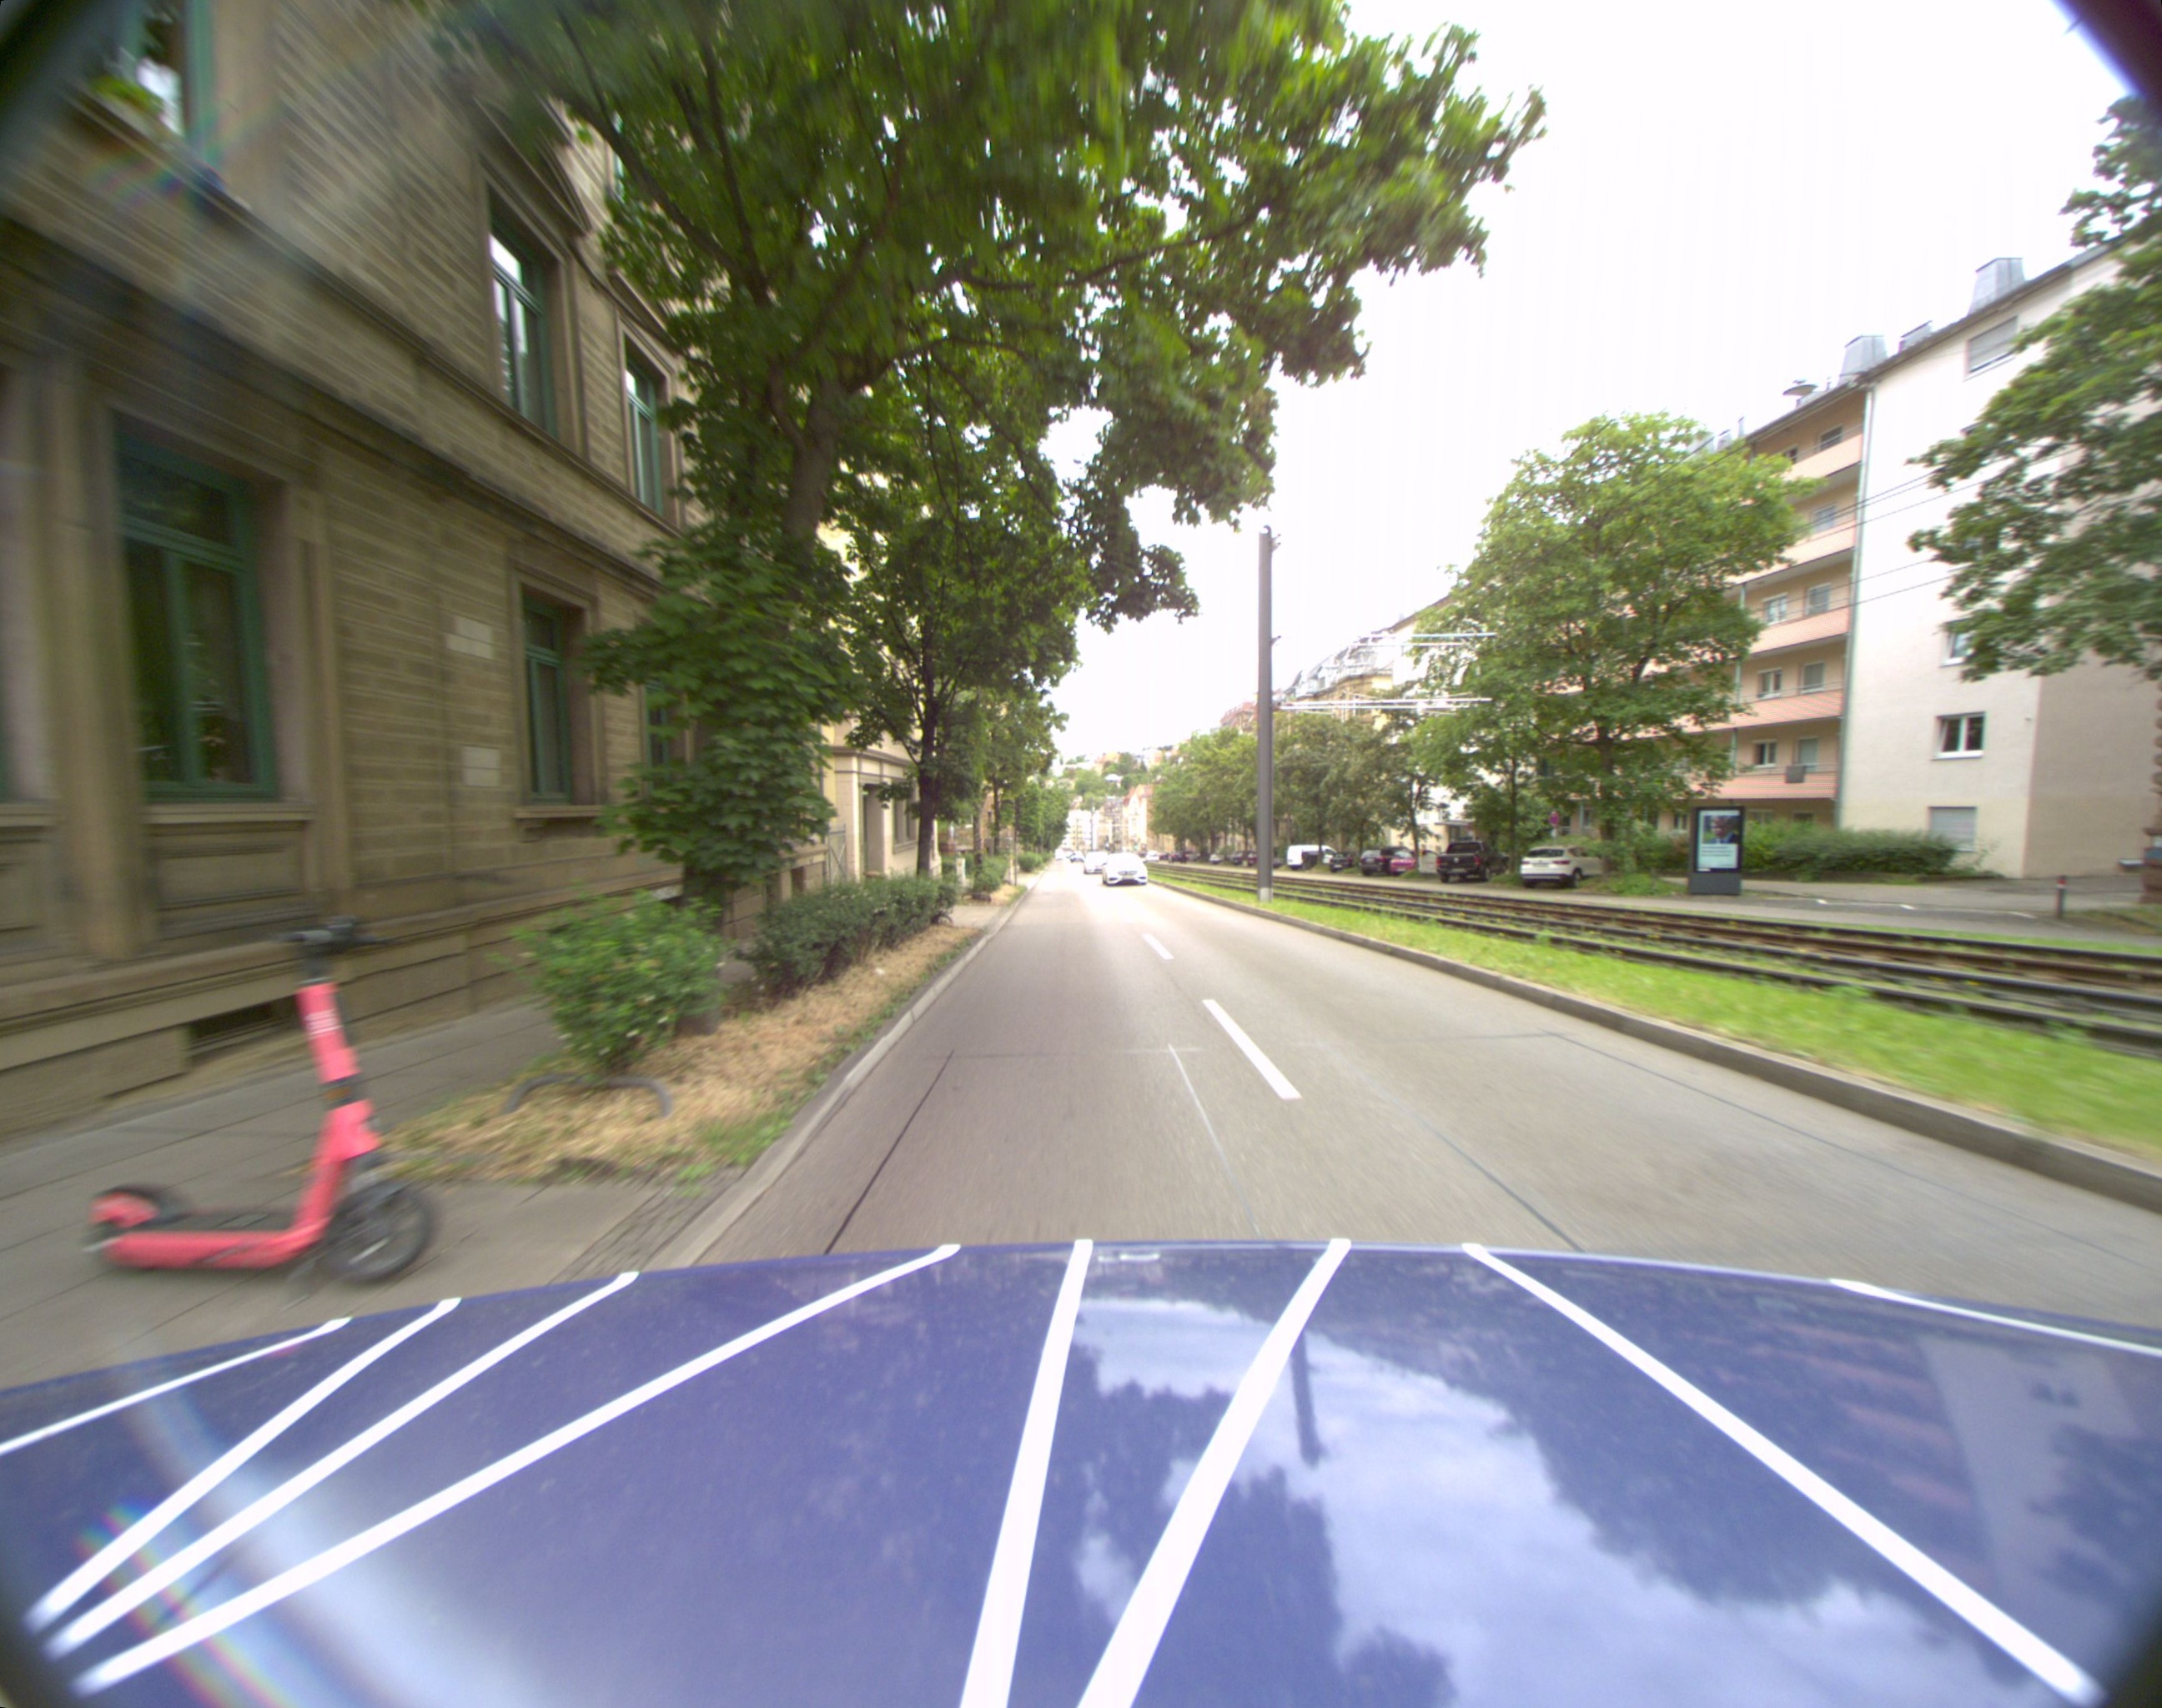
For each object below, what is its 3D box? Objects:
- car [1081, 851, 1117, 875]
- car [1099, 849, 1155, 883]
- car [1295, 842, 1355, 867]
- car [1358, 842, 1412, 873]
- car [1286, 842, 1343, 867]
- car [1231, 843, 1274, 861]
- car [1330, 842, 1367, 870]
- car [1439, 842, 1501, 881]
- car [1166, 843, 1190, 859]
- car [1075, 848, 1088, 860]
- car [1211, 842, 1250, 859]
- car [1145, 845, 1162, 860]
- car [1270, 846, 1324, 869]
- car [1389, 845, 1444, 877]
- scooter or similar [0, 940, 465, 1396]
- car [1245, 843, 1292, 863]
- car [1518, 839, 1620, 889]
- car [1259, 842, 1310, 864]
[{"bbox_3d":[1.192,0.590,52.071,1.999,1.479,4.228,-3,1,-4],"label":"car"},{"bbox_3d":[2.045,0.509,34.829,1.999,1.390,4.228,-3,1,-4],"label":"car"},{"bbox_3d":[17.324,0.037,53.876,3.863,1.678,1.781,-1,1,-24],"label":"car"},{"bbox_3d":[17.349,0.163,43.280,1.779,1.678,3.866,0,1,40],"label":"car"},{"bbox_3d":[17.308,-0.004,56.270,3.863,1.803,1.781,-1,1,-24],"label":"car"},{"bbox_3d":[17.132,-0.223,75.860,3.860,1.803,1.782,-1,1,-17],"label":"car"},{"bbox_3d":[17.335,0.120,49.194,1.780,1.678,3.864,0,2,27],"label":"car"},{"bbox_3d":[17.621,0.307,34.341,1.779,1.678,3.866,0,1,39],"label":"car"},{"bbox_3d":[11.994,-0.380,93.889,2.000,2.002,3.997,-1,1,-7],"label":"car"},{"bbox_3d":[0.117,-0.054,110.303,1.882,1.728,3.999,0,1,0],"label":"car"},{"bbox_3d":[16.663,-0.378,84.671,3.860,1.803,1.782,-1,1,-17],"label":"car"},{"bbox_3d":[10.205,-0.242,107.065,1.998,2.002,3.999,0,1,0],"label":"car"},{"bbox_3d":[17.510,0.281,61.723,3.860,1.803,1.782,-1,1,-17],"label":"car"},{"bbox_3d":[18.220,0.338,41.144,1.779,1.678,3.866,0,1,39],"label":"car"},{"bbox_3d":[-2.998,0.983,2.593,1.200,1.266,0.629,3,1,-10],"label":"scooter or similar"},{"bbox_3d":[17.334,-0.105,70.397,3.860,1.803,1.782,-1,1,-17],"label":"car"},{"bbox_3d":[18.238,0.338,28.342,3.864,1.678,1.780,-2,1,-33],"label":"car"},{"bbox_3d":[17.257,-0.071,64.397,3.860,1.803,1.782,-1,1,-17],"label":"car"}]
